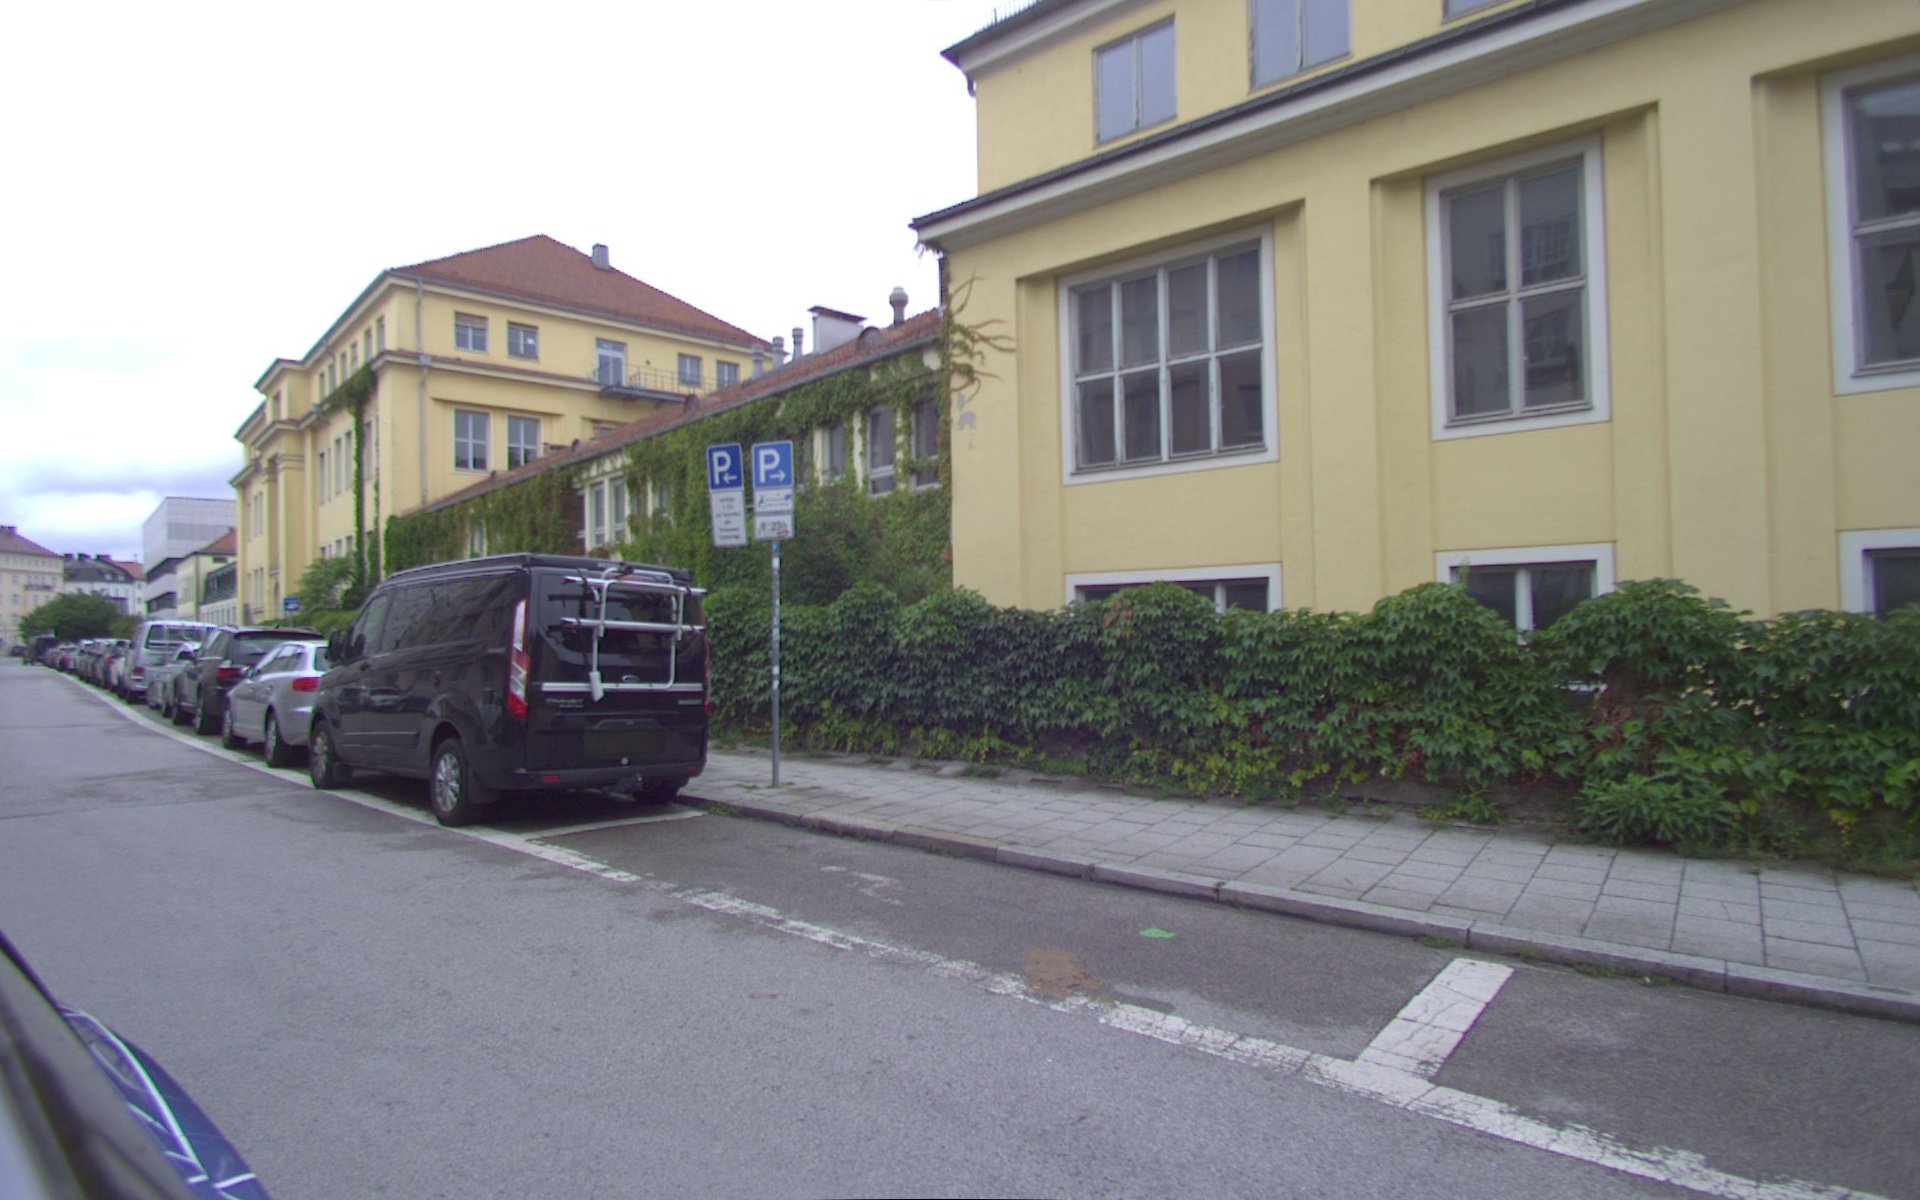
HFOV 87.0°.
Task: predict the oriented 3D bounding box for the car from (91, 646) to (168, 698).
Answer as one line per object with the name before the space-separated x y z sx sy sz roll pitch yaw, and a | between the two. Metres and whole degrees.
car | -26.100 2.211 31.761 1.560 1.467 3.907 1 -2 -44

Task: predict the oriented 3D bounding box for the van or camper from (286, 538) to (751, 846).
van or camper | -4.174 0.745 9.170 4.750 2.081 1.940 -2 -5 41

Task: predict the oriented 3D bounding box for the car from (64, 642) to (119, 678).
car | -42.409 2.907 49.382 4.358 1.646 1.661 -3 -2 44

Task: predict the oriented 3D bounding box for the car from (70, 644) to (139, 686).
car | -34.170 2.554 40.387 1.761 1.550 4.197 1 -2 -45

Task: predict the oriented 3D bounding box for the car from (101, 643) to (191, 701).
car | -22.723 1.992 28.219 1.560 1.504 3.733 5 -5 -44

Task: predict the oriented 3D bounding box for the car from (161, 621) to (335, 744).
car | -11.698 1.267 16.499 1.601 1.743 4.428 3 -4 -44

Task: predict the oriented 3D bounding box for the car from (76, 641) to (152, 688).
car | -30.489 2.276 36.443 1.761 1.549 4.151 0 -2 -45

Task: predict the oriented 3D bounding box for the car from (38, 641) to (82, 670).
car | -49.550 3.029 55.695 1.660 1.507 3.989 1 -2 -43

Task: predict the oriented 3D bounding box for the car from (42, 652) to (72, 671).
car | -78.439 5.324 87.891 3.869 1.574 1.676 -4 -6 45

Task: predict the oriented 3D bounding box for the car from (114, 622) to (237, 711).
car | -18.908 1.529 24.307 1.969 1.890 4.763 0 -2 -42

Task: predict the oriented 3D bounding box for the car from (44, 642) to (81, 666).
car | -61.774 3.676 69.628 3.999 1.578 1.656 -3 -2 45

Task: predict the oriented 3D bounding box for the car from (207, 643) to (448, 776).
car | -8.004 1.270 12.656 4.074 1.388 1.601 -3 -6 45

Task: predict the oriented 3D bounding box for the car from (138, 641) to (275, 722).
car | -15.199 1.561 20.315 1.681 1.433 4.429 3 -4 -43

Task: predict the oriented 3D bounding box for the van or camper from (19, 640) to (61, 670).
van or camper | -87.010 5.213 95.719 5.567 2.829 2.114 -3 -4 40

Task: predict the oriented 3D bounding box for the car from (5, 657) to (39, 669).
car | -150.322 10.068 162.210 3.939 1.874 2.002 2 -4 -43
